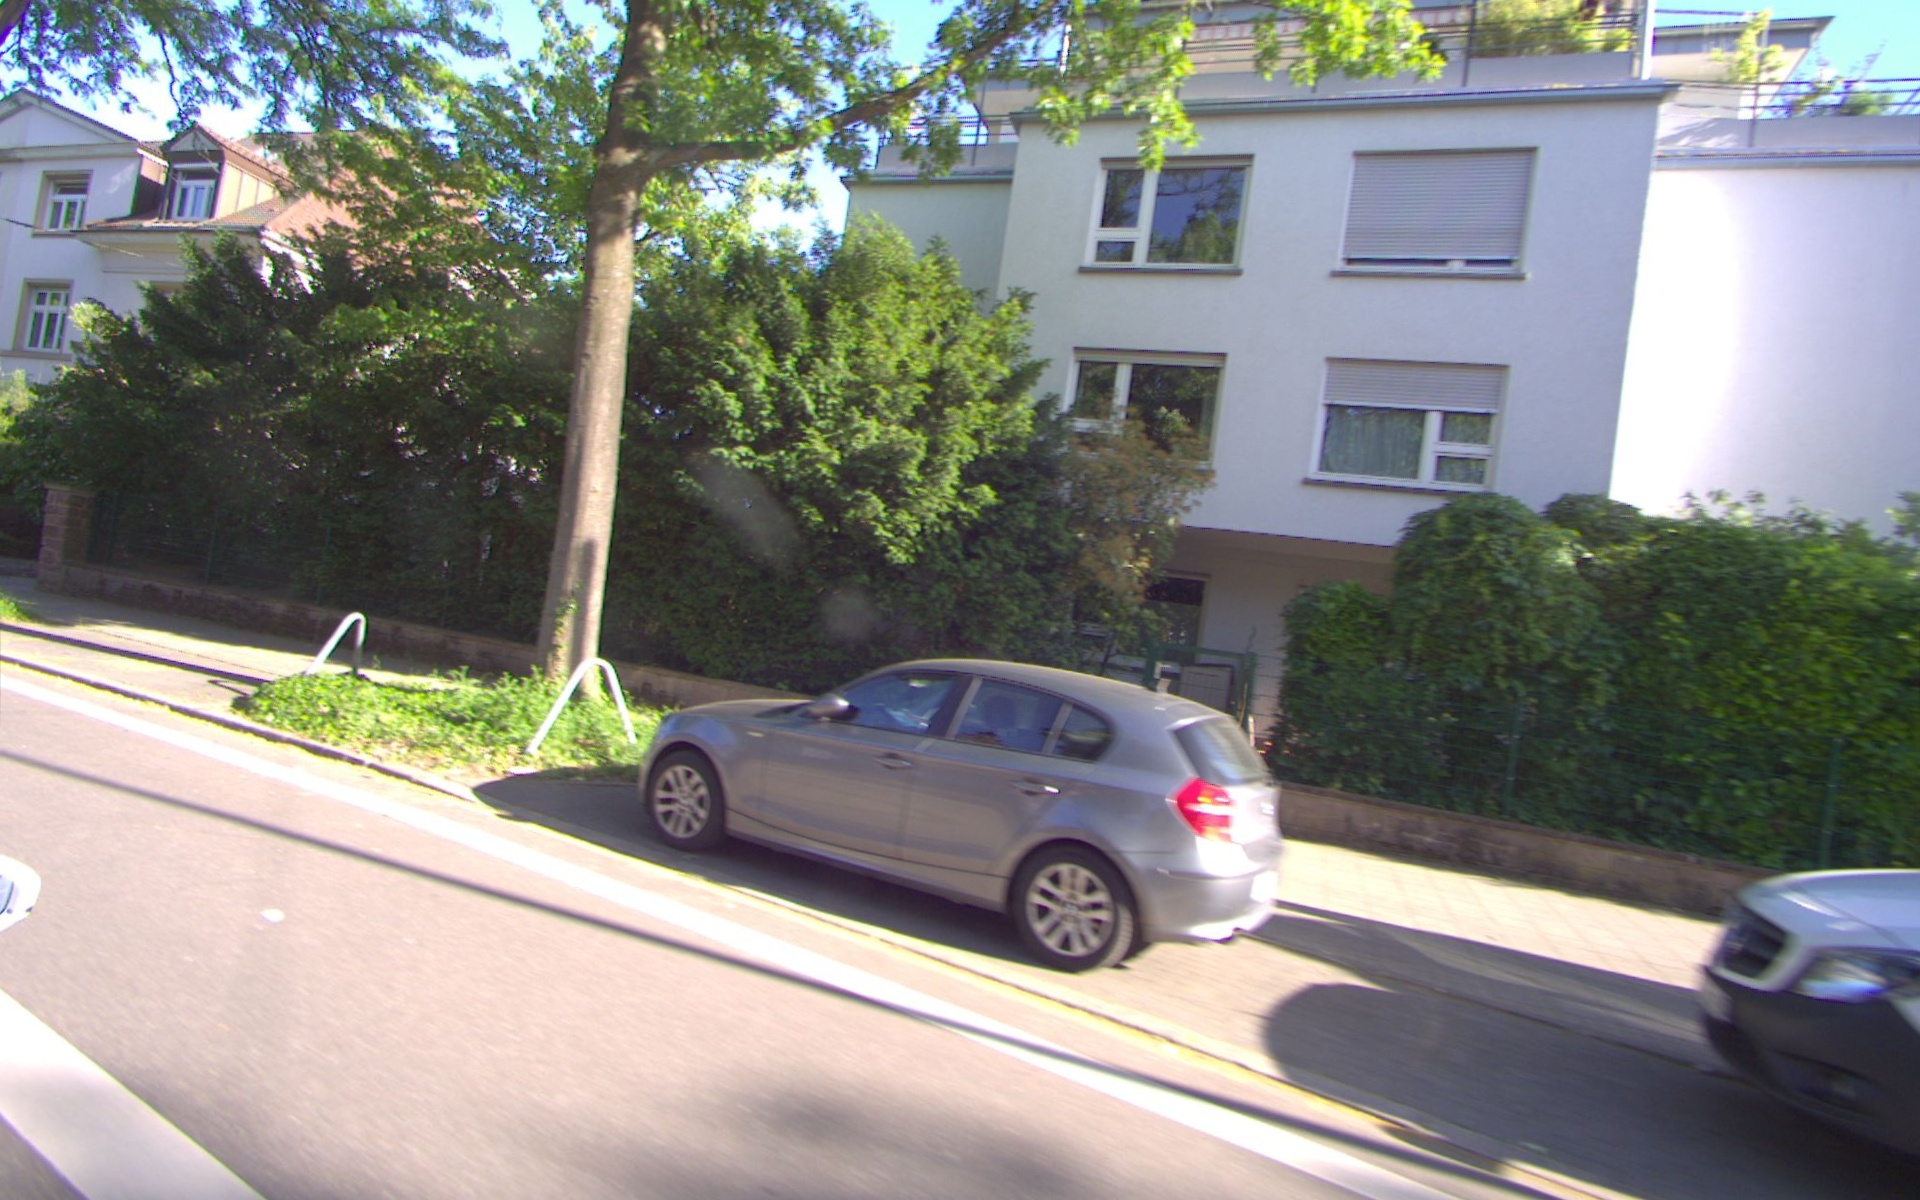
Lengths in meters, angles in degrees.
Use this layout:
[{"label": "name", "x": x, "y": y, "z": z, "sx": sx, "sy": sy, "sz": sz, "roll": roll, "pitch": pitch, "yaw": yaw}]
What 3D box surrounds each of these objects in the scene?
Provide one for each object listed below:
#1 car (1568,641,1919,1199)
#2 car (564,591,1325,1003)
[{"label": "car", "x": 4.983, "y": 1.392, "z": 3.380, "sx": 4.667, "sy": 1.766, "sz": 2.029, "roll": 8, "pitch": -2, "yaw": 26}, {"label": "car", "x": -0.097, "y": 0.980, "z": 6.373, "sx": 4.255, "sy": 1.439, "sz": 2.001, "roll": 7, "pitch": -2, "yaw": 25}]
